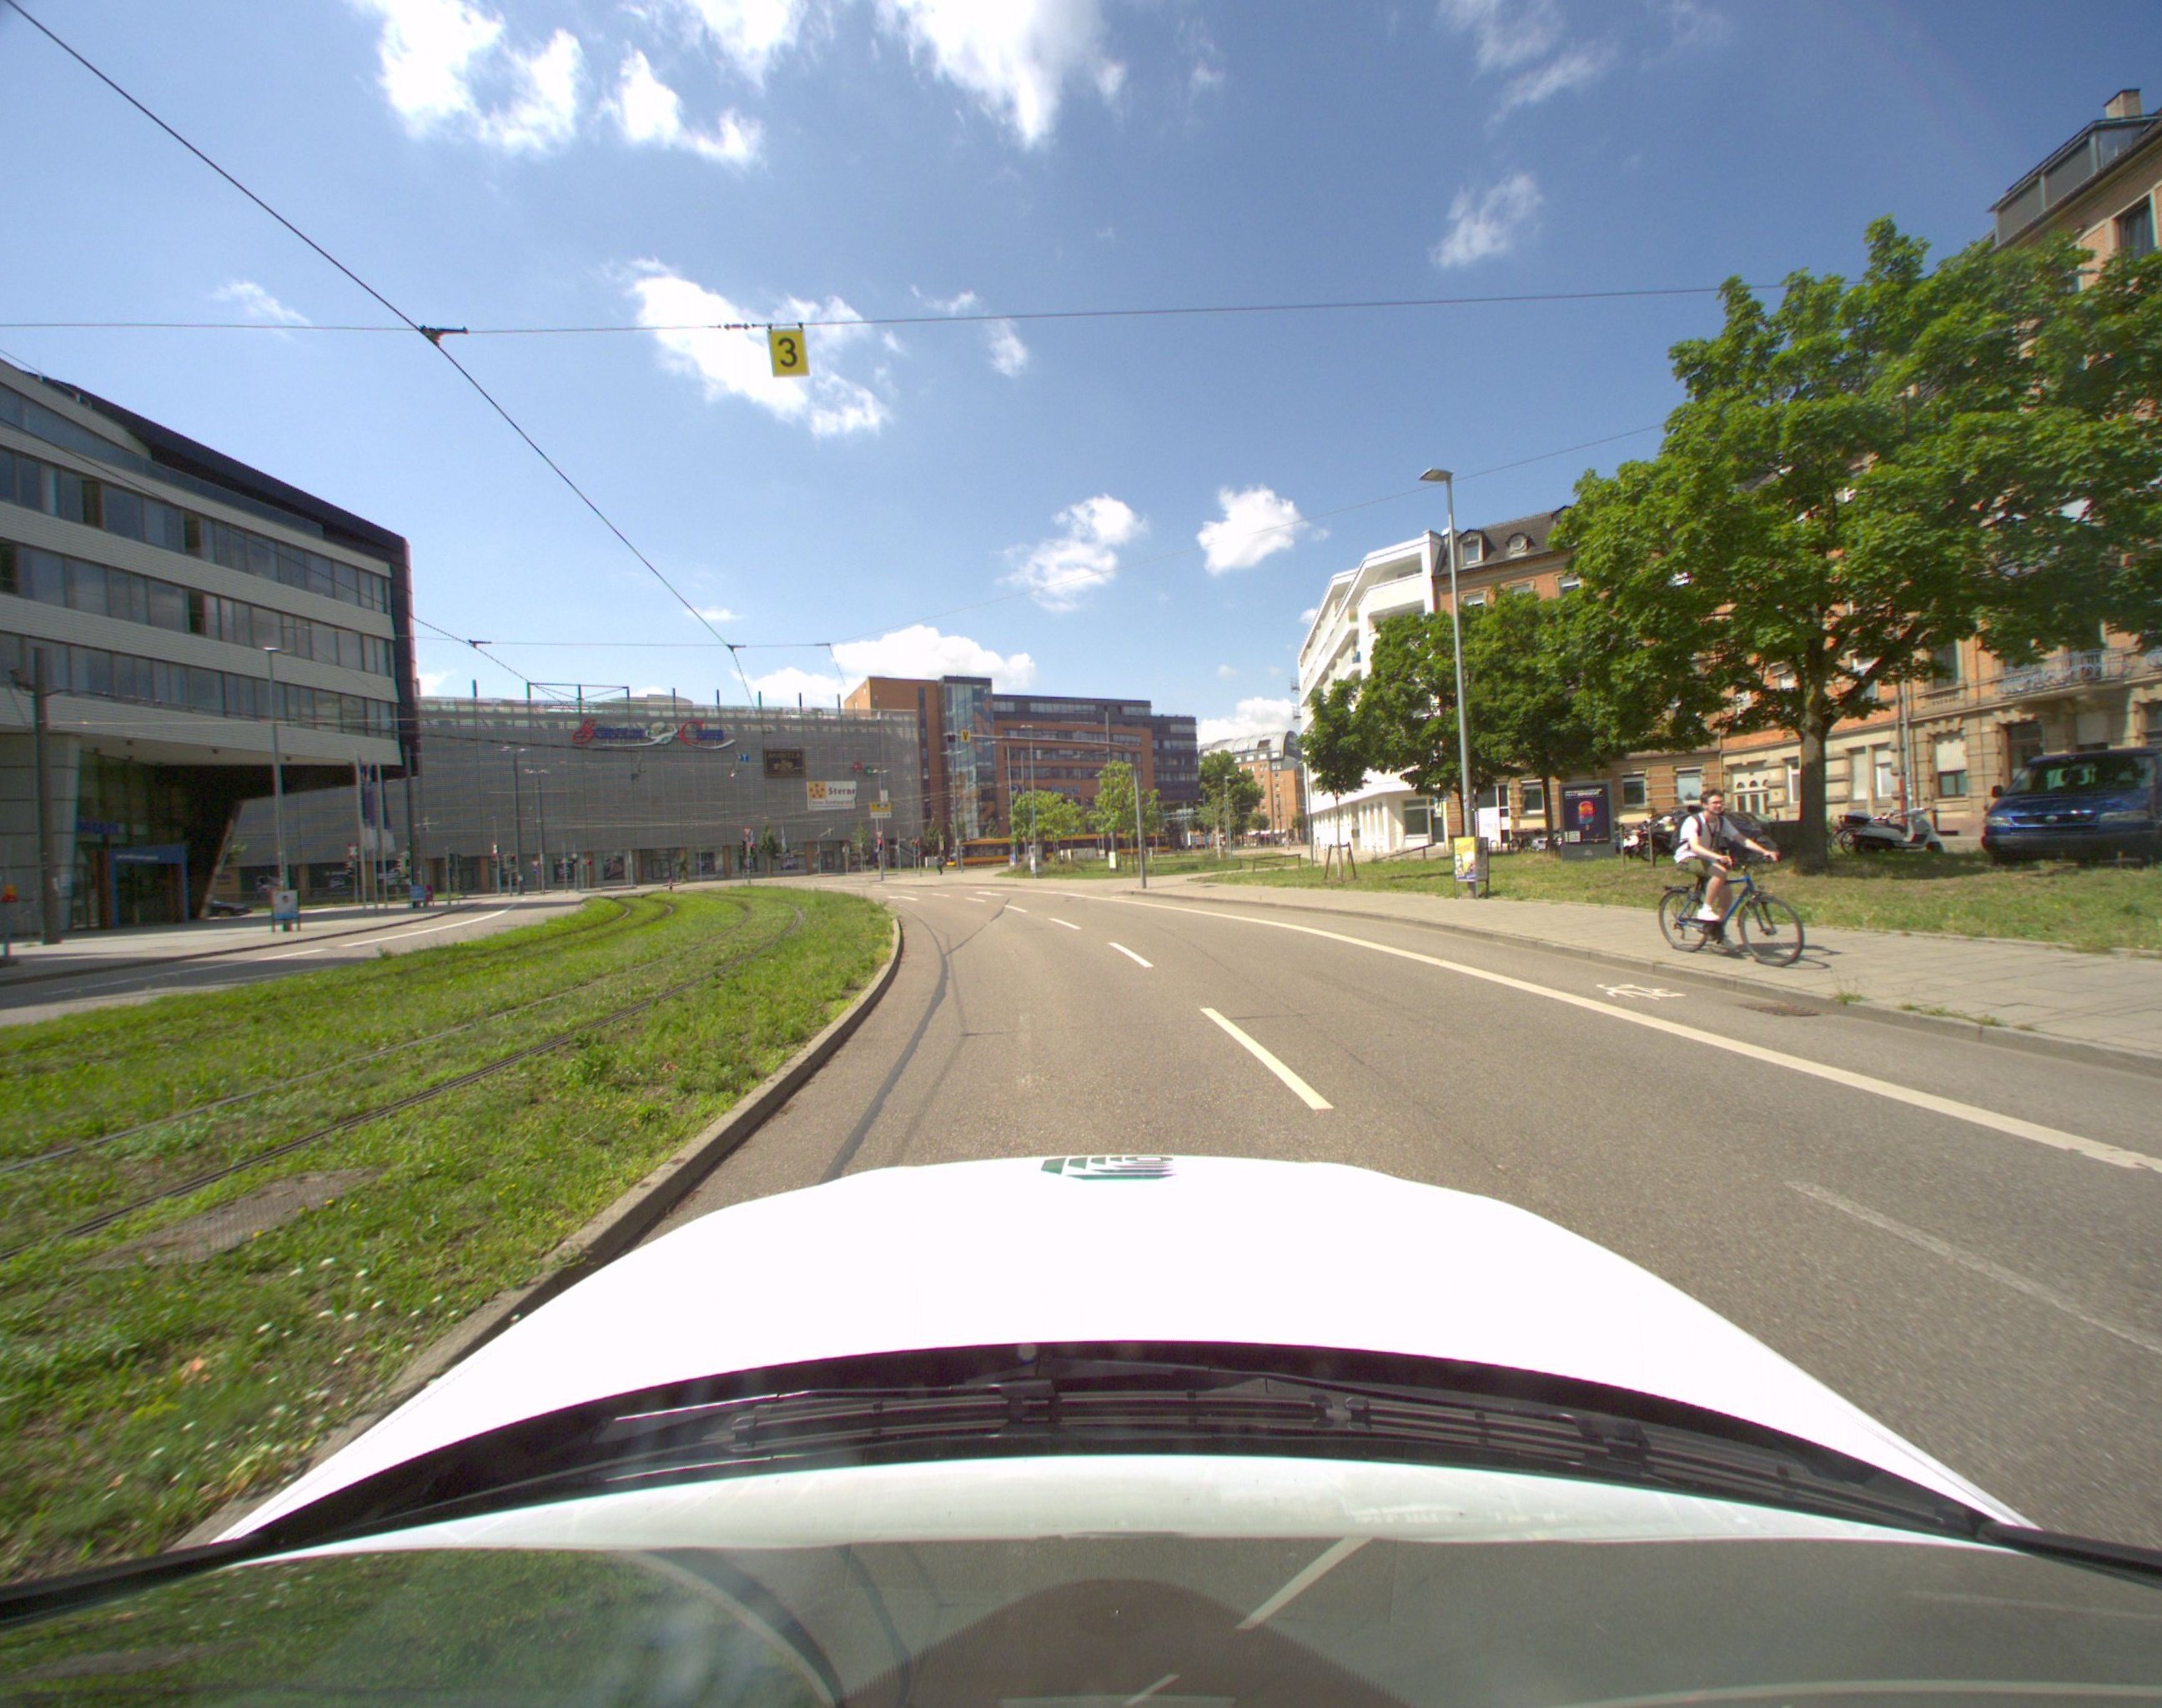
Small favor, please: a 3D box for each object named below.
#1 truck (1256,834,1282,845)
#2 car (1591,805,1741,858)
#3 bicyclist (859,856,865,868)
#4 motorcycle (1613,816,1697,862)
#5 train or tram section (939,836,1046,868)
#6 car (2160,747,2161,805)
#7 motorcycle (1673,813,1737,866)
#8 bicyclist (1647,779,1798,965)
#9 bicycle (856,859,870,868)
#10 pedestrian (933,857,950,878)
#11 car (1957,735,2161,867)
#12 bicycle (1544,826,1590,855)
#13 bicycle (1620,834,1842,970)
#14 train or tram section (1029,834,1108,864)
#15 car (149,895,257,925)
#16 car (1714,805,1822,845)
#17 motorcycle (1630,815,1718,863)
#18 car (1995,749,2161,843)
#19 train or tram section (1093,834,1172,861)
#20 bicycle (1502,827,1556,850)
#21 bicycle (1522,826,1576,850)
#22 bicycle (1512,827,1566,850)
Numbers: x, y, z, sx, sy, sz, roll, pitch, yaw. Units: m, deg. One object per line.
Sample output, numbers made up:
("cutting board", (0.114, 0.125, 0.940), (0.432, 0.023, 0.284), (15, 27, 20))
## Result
("truck", (40.048, -3.068, 173.507), (2.008, 2.085, 5.465), (-2, 0, -33))
("car", (18.611, -0.717, 25.909), (4.261, 1.427, 1.793), (-3, 0, -21))
("bicyclist", (-30.512, 1.089, 113.651), (0.666, 1.623, 0.546), (-2, 0, -27))
("motorcycle", (15.911, -0.417, 22.600), (1.773, 1.167, 0.641), (-3, 0, 7))
("train or tram section", (-10.803, -0.344, 101.609), (13.566, 3.599, 3.190), (-2, 0, -38))
("car", (16.776, -0.686, 10.676), (4.172, 1.656, 1.905), (-2, 0, -18))
("motorcycle", (14.659, -0.340, 19.188), (0.632, 1.167, 1.917), (-3, 0, 21))
("bicyclist", (6.856, 0.178, 8.752), (0.694, 1.824, 0.954), (-6, 1, -7))
("bicycle", (-30.442, 1.292, 113.681), (1.770, 1.224, 0.579), (-2, 0, -28))
("pedestrian", (-11.770, 1.164, 68.693), (0.907, 1.702, 0.814), (-4, 0, 33))
("car", (17.171, -0.840, 13.606), (4.633, 1.927, 1.902), (-2, 0, -22))
("bicycle", (15.803, -0.439, 26.531), (0.539, 0.901, 1.824), (-2, 0, 5))
("bicycle", (6.878, 0.453, 8.762), (0.693, 1.242, 1.835), (-6, 1, -7))
("train or tram section", (-1.565, -0.700, 109.262), (11.051, 3.603, 3.029), (-2, 0, -40))
("car", (-54.402, 3.453, 50.580), (4.122, 1.469, 1.811), (-3, 0, -28))
("car", (28.249, -1.149, 33.661), (1.649, 1.491, 3.864), (-2, 0, 9))
("motorcycle", (15.780, -0.391, 21.714), (1.773, 1.167, 0.641), (-3, 0, 7))
("car", (26.615, -1.414, 20.332), (2.098, 2.178, 5.408), (-2, 0, 9))
("train or tram section", (7.542, -0.976, 117.209), (12.703, 3.621, 3.029), (-2, 0, -41))
("bicycle", (20.280, -0.693, 36.860), (2.388, 0.969, 0.541), (-2, 0, -15))
("bicycle", (20.558, -0.701, 35.767), (2.388, 0.969, 0.541), (-2, 0, -15))
("bicycle", (20.428, -0.697, 36.313), (2.388, 0.969, 0.541), (-2, 0, -15))
